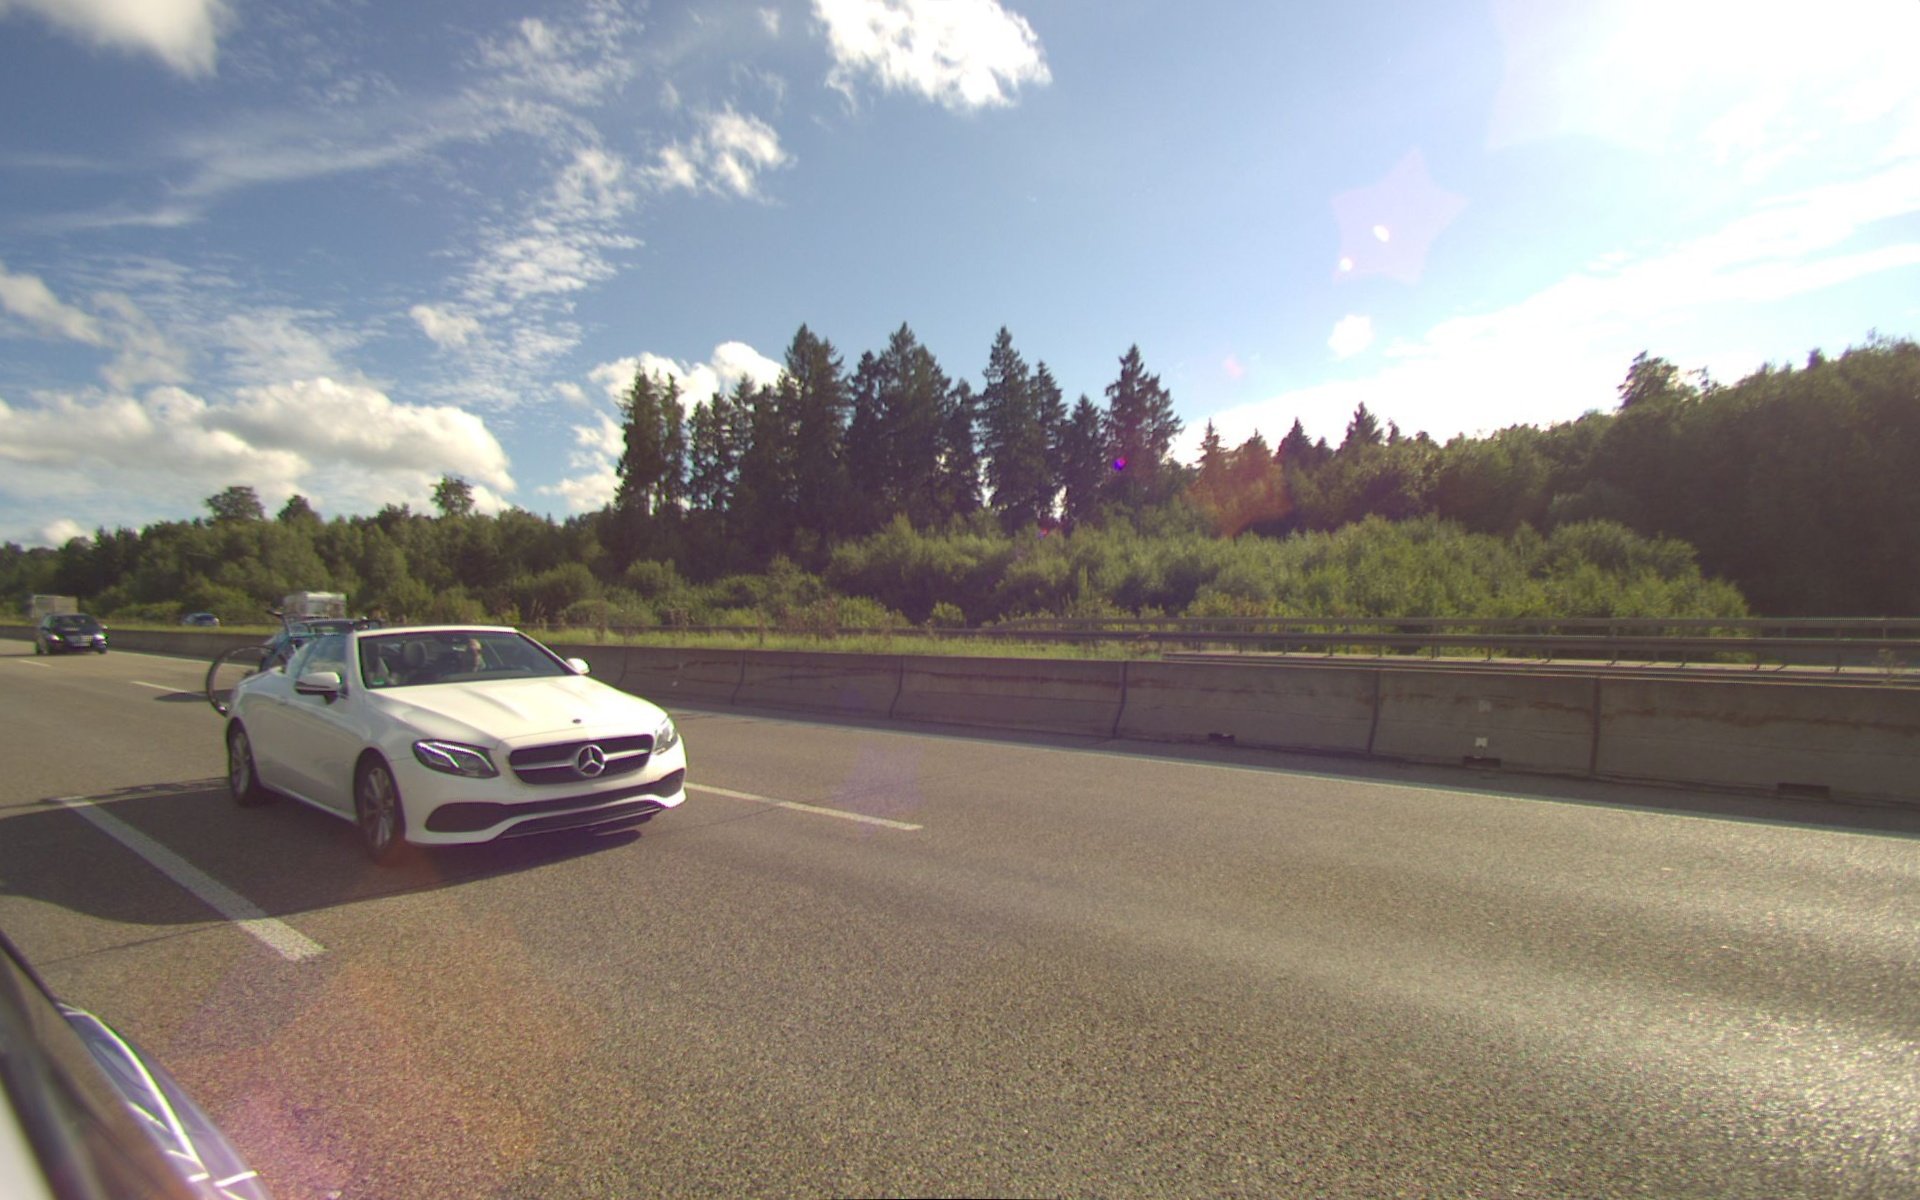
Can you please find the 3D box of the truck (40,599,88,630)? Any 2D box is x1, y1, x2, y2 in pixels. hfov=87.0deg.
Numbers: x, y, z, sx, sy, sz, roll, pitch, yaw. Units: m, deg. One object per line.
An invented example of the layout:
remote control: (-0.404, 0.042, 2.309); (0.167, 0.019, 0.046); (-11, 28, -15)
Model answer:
truck: (-117.132, 1.882, 132.246); (11.735, 3.932, 3.280); (-1, 0, 41)

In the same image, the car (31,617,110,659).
car: (-34.816, 1.441, 39.562); (4.332, 1.529, 1.816); (-1, -1, 42)

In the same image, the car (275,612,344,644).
car: (-32.187, 1.370, 50.036); (3.998, 1.430, 1.801); (-1, 2, 41)

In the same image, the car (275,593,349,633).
car: (-42.920, 0.848, 67.009); (5.842, 2.494, 2.517); (-1, 2, 41)

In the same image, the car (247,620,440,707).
car: (-11.838, 1.110, 19.282); (4.839, 1.442, 1.836); (-1, -1, 42)

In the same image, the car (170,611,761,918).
car: (-4.103, 0.860, 7.714); (5.734, 1.510, 2.038); (-1, -1, 42)

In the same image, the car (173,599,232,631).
car: (-53.109, 1.031, 70.933); (5.029, 2.051, 2.295); (-1, 2, 41)
